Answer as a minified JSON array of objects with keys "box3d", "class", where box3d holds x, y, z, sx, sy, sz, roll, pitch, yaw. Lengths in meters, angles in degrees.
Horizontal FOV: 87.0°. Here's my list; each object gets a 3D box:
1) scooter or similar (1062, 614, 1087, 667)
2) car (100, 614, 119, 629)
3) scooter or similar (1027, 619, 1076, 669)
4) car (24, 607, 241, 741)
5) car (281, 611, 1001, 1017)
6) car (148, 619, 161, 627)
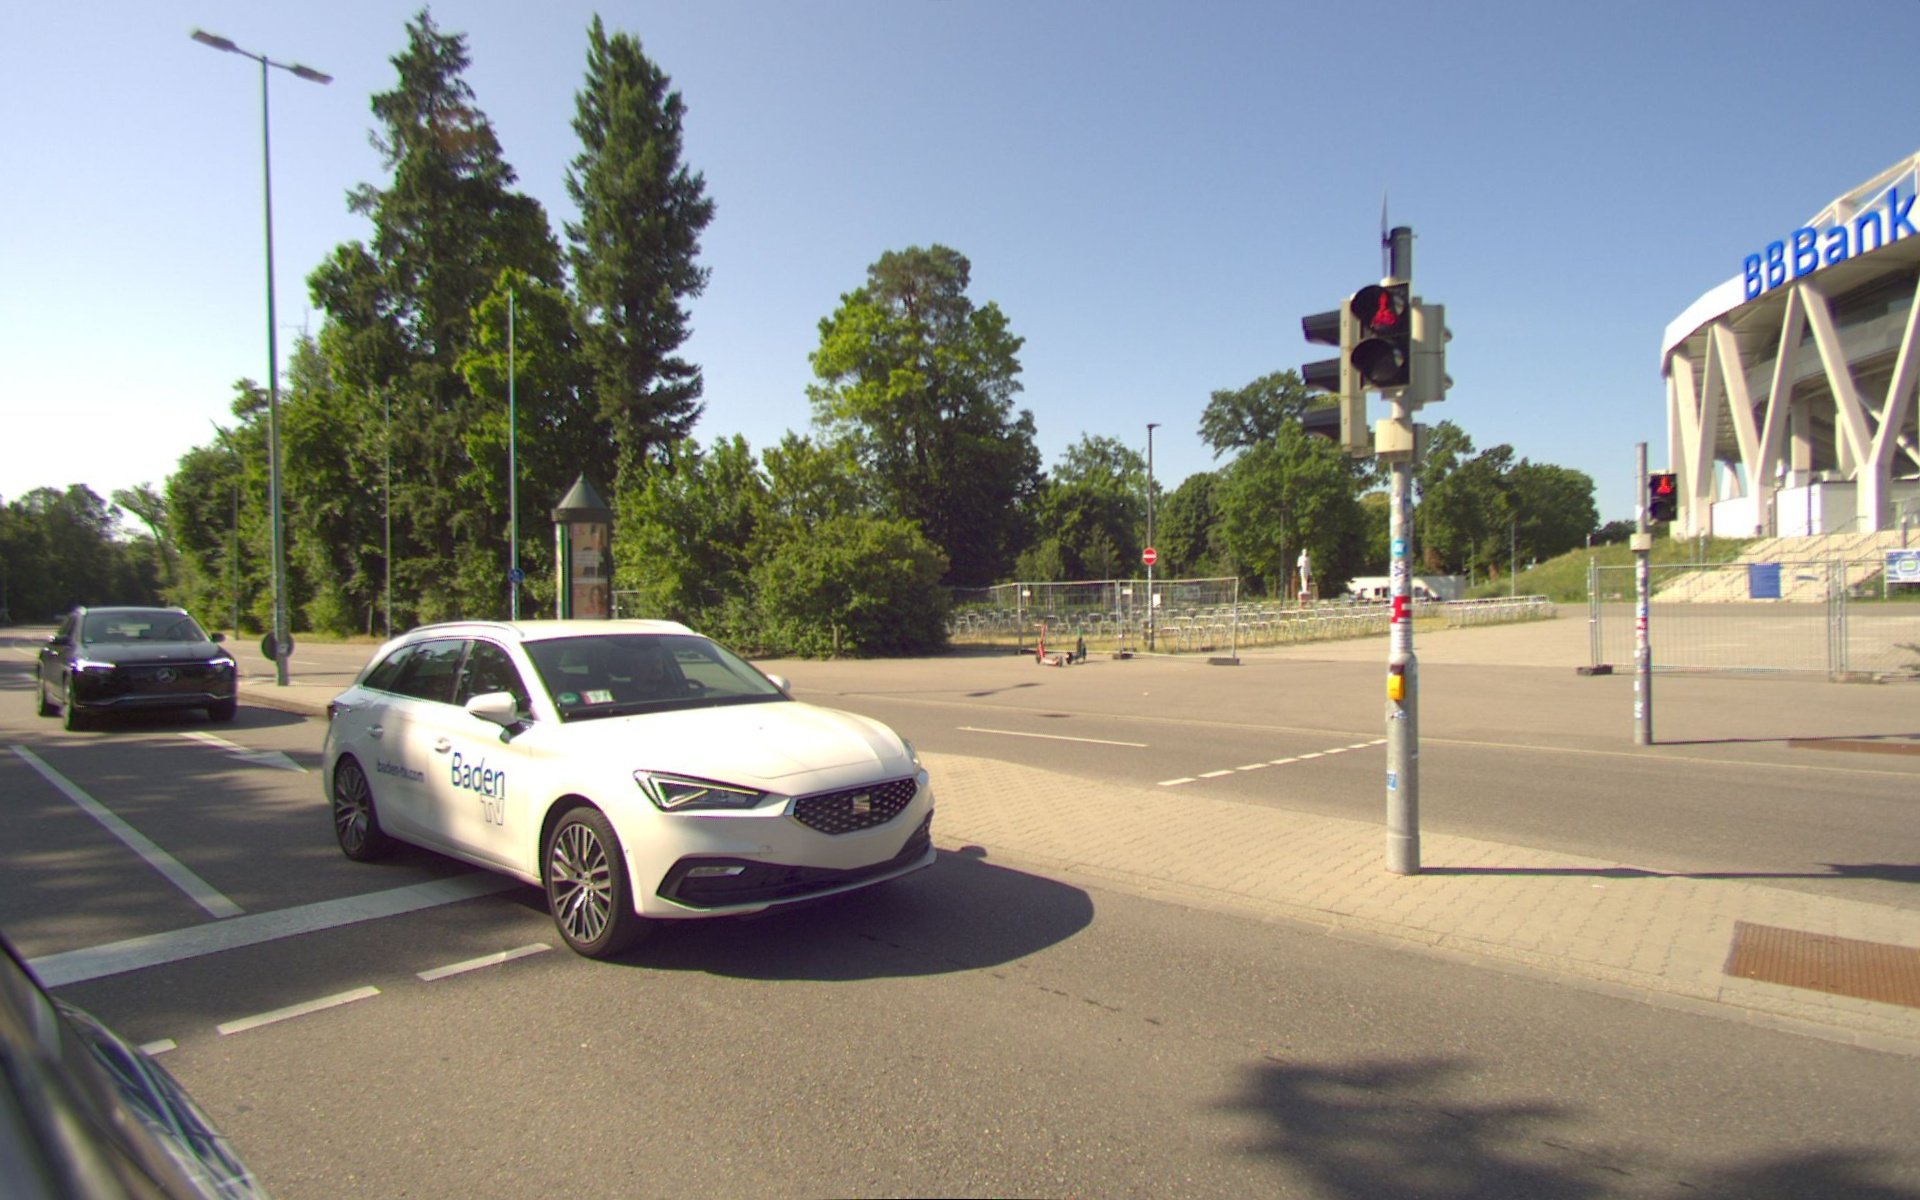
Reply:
[{"box3d":[2.809,0.980,24.734,0.393,1.231,1.075,-1,0,17],"class":"scooter or similar"},{"box3d":[-110.289,2.829,131.186,1.849,1.874,4.007,-1,0,-40],"class":"car"},{"box3d":[2.188,1.033,24.205,0.390,1.154,1.197,-1,-1,-43],"class":"scooter or similar"},{"box3d":[-11.890,0.922,14.438,4.272,1.608,1.785,0,-1,42],"class":"car"},{"box3d":[-2.140,0.805,5.795,4.717,1.437,1.707,-1,-2,41],"class":"car"},{"box3d":[-158.299,4.520,198.883,1.828,1.630,4.008,-1,0,-38],"class":"car"}]
